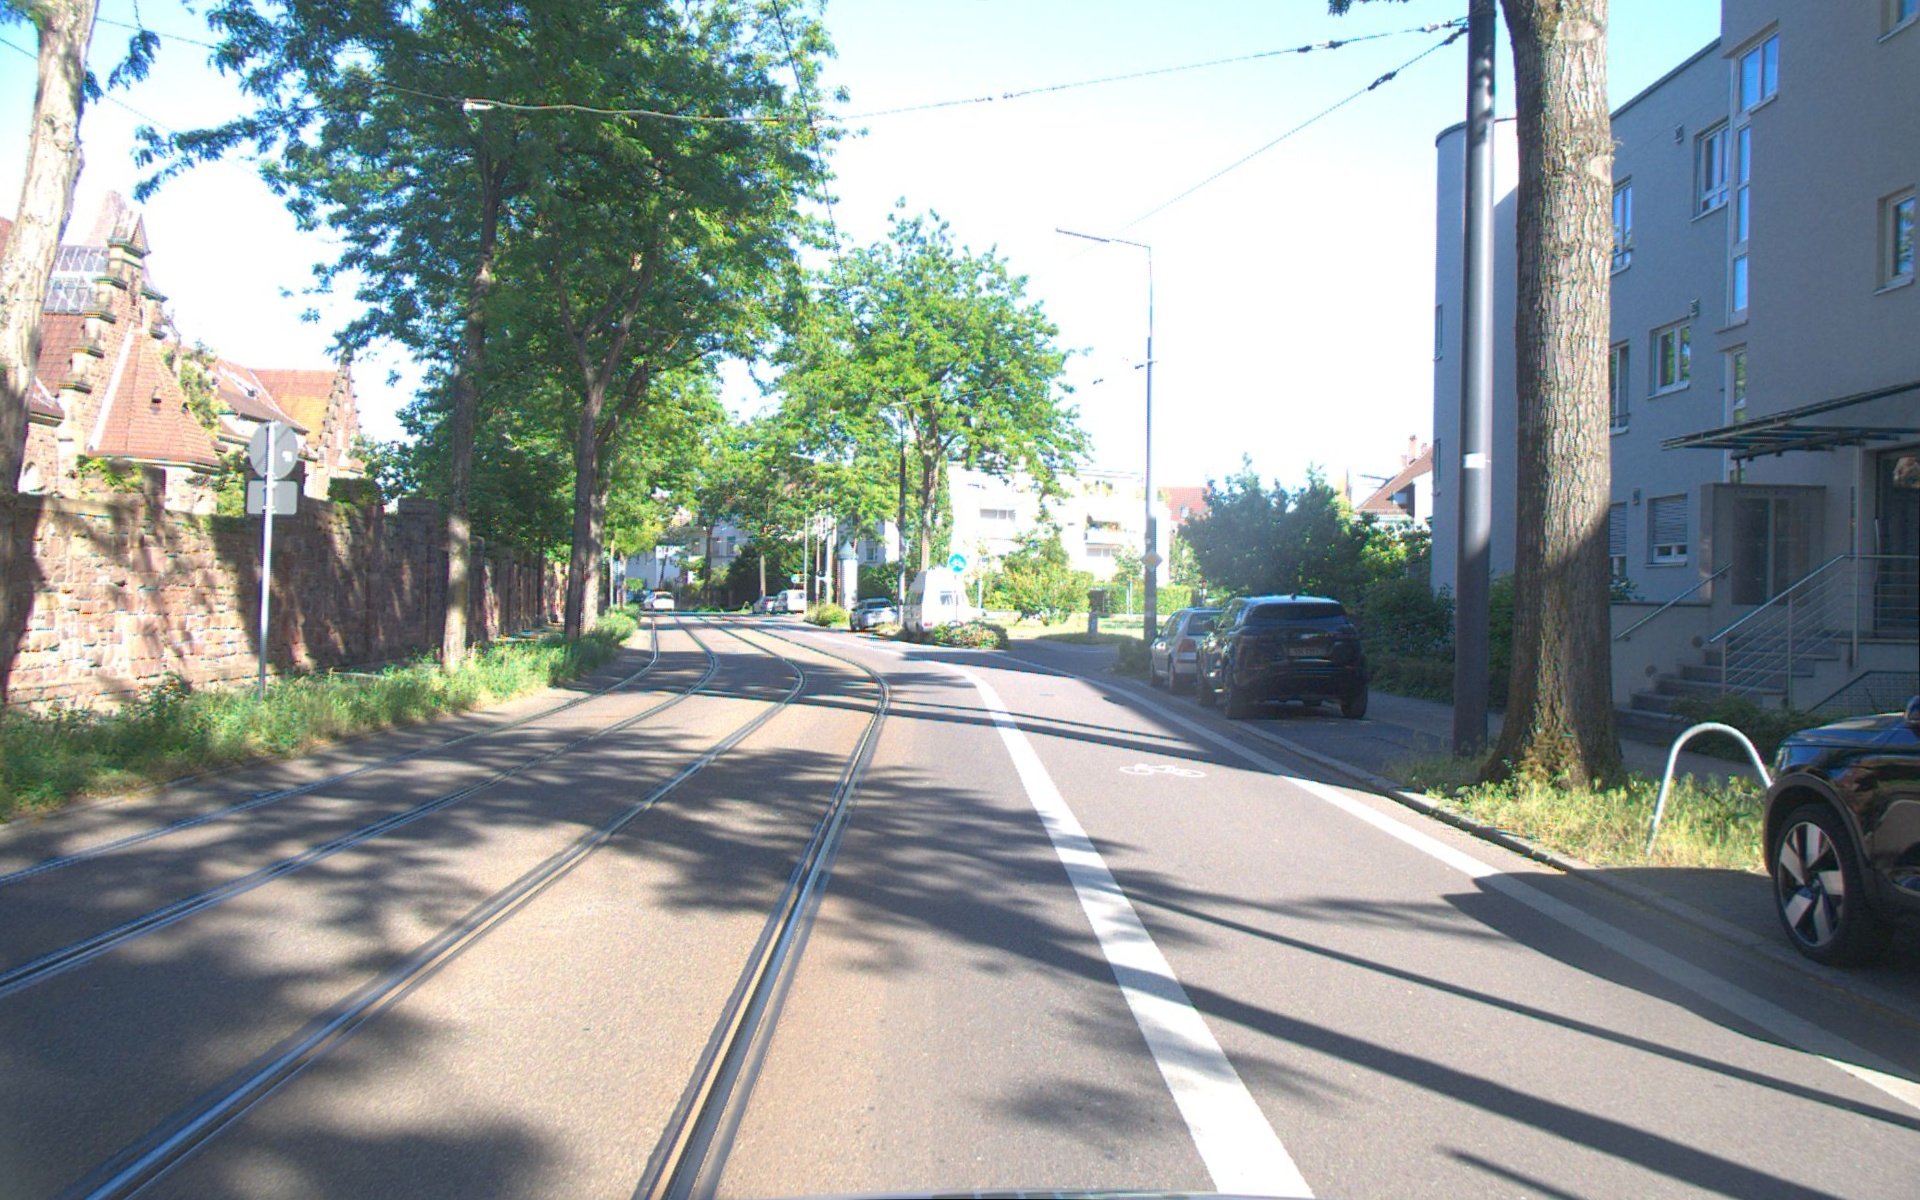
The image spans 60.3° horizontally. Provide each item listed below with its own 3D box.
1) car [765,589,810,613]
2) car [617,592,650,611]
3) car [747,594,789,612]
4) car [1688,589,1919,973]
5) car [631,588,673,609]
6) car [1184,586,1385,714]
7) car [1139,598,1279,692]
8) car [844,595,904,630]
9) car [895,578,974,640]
[{"bbox_3d":[-13.257,0.078,126.966,1.998,1.777,4.712,0,0,-26],"label":"car"},{"bbox_3d":[-31.935,0.102,161.804,1.785,1.723,4.682,-3,2,-30],"label":"car"},{"bbox_3d":[-15.410,0.269,132.532,1.969,1.448,4.295,0,-1,-26],"label":"car"},{"bbox_3d":[4.818,0.744,6.311,1.838,1.545,4.646,1,0,-3],"label":"car"},{"bbox_3d":[-26.245,-0.109,140.897,1.878,1.639,4.174,1,-2,-36],"label":"car"},{"bbox_3d":[4.527,0.661,23.764,1.953,1.644,4.600,0,0,-1],"label":"car"},{"bbox_3d":[4.343,0.751,29.508,1.703,1.522,4.528,1,0,-1],"label":"car"},{"bbox_3d":[-4.067,0.588,77.568,1.966,1.491,5.416,-3,0,-12],"label":"car"},{"bbox_3d":[-0.961,0.302,59.549,1.959,2.132,4.702,0,0,-12],"label":"car"}]
